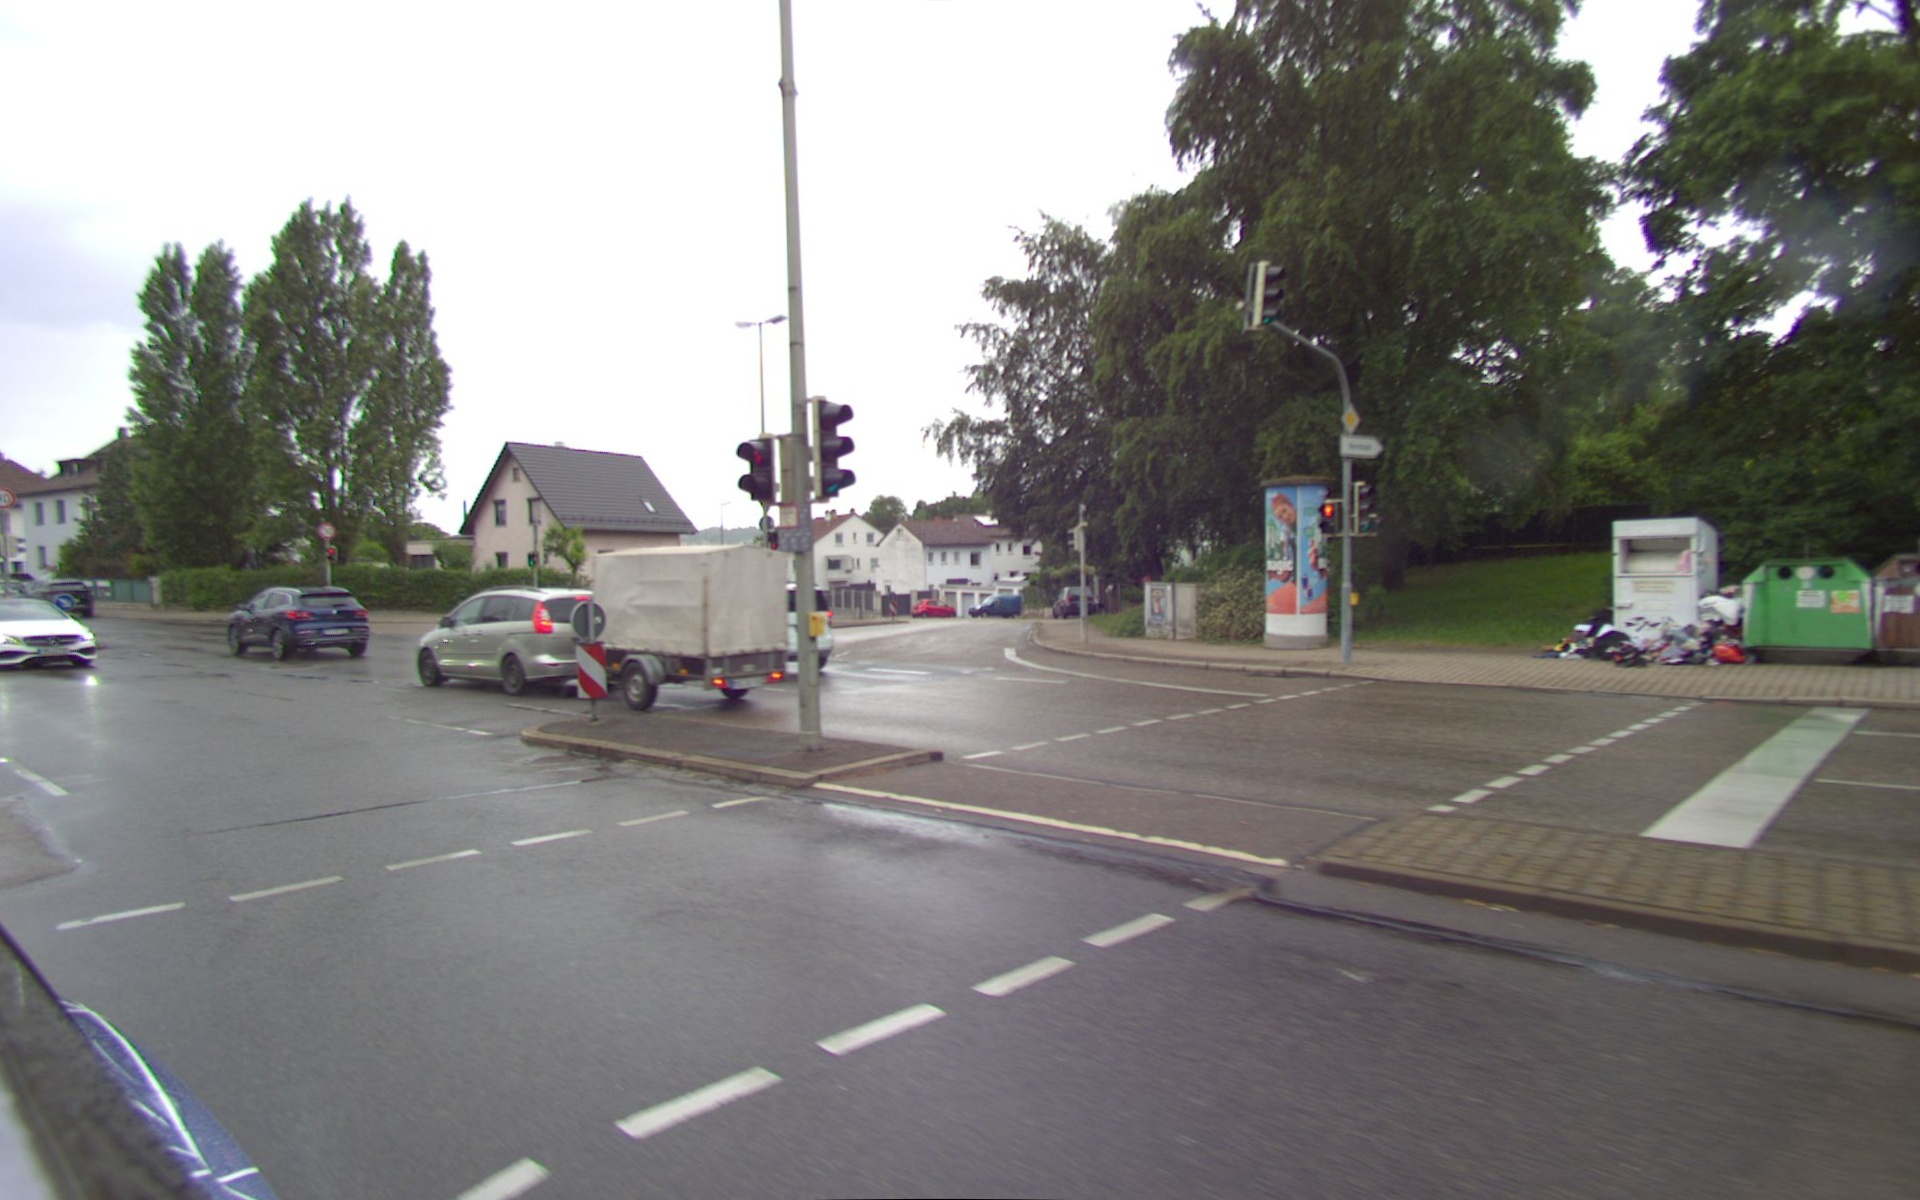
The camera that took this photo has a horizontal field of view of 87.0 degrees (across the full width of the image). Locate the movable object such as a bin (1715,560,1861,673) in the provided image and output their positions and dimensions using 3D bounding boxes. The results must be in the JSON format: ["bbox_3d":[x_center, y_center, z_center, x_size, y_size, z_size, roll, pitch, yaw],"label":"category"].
[{"bbox_3d":[12.642,0.238,15.429,1.581,1.580,2.035,-2,-1,43],"label":"movable object such as a bin"}]

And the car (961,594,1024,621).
[{"bbox_3d":[2.324,0.537,72.122,4.022,1.863,1.945,0,0,-22],"label":"car"}]

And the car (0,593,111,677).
[{"bbox_3d":[-20.058,0.665,21.225,4.630,1.540,1.896,1,1,28],"label":"car"}]

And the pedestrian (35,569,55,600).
[{"bbox_3d":[-54.994,-0.941,60.814,0.538,1.801,0.663,1,5,35],"label":"pedestrian"}]

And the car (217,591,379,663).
[{"bbox_3d":[-15.654,0.567,23.860,4.376,1.563,1.824,0,0,37],"label":"car"}]

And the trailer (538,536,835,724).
[{"bbox_3d":[-3.804,0.344,13.792,4.030,2.195,1.878,0,0,38],"label":"trailer"}]

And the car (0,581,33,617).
[{"bbox_3d":[-44.861,-0.076,46.871,4.129,1.580,1.791,1,2,32],"label":"car"}]

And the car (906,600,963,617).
[{"bbox_3d":[-2.027,0.637,79.754,4.022,1.298,1.914,0,0,-25],"label":"car"}]

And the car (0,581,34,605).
[{"bbox_3d":[-60.513,-0.401,62.888,1.878,1.430,3.959,1,4,31],"label":"car"}]

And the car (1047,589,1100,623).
[{"bbox_3d":[5.893,0.294,52.899,1.909,1.717,4.201,0,0,-6],"label":"car"}]

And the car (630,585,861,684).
[{"bbox_3d":[-4.139,0.570,19.202,4.457,1.669,1.807,0,0,36],"label":"car"}]

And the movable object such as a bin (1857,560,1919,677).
[{"bbox_3d":[13.828,0.237,14.357,1.581,1.580,2.035,-2,-1,43],"label":"movable object such as a bin"}]

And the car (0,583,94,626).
[{"bbox_3d":[-39.361,0.146,43.615,4.583,1.682,1.791,1,2,32],"label":"car"}]

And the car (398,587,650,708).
[{"bbox_3d":[-7.175,0.643,16.461,4.474,1.695,1.881,1,1,38],"label":"car"}]

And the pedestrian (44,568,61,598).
[{"bbox_3d":[-56.283,-1.051,62.776,0.643,1.800,0.649,-4,3,-35],"label":"pedestrian"}]
